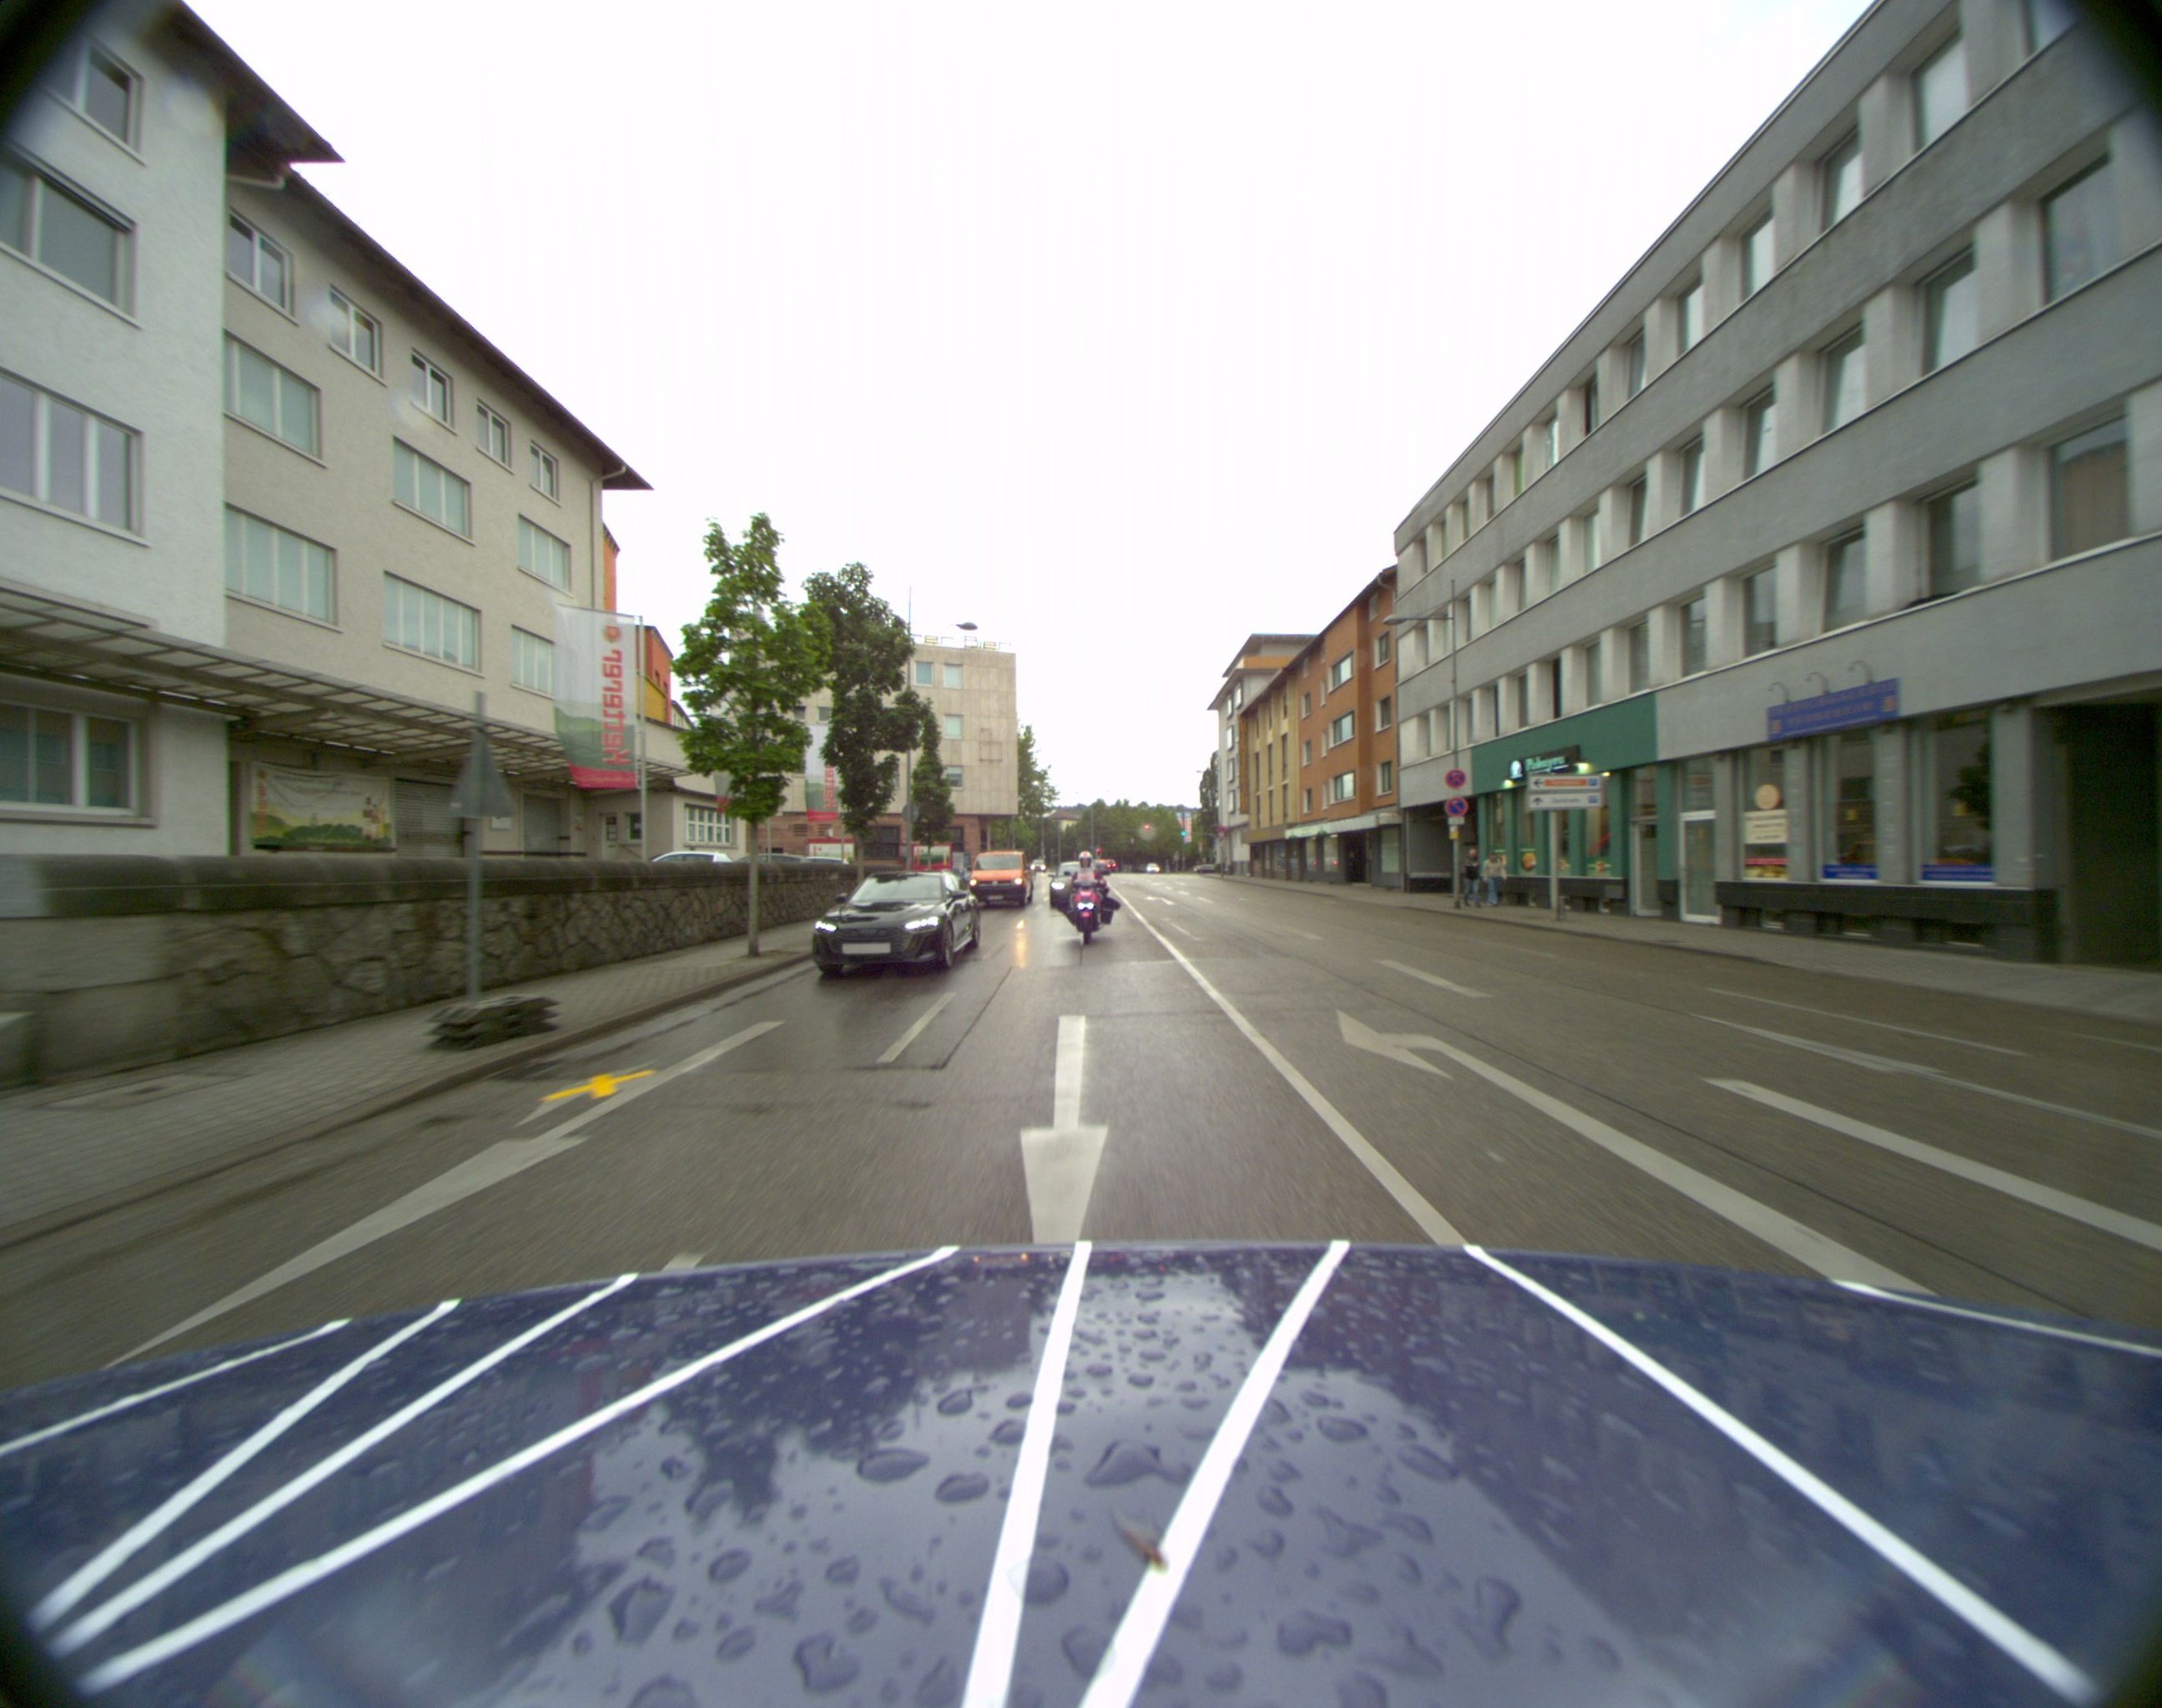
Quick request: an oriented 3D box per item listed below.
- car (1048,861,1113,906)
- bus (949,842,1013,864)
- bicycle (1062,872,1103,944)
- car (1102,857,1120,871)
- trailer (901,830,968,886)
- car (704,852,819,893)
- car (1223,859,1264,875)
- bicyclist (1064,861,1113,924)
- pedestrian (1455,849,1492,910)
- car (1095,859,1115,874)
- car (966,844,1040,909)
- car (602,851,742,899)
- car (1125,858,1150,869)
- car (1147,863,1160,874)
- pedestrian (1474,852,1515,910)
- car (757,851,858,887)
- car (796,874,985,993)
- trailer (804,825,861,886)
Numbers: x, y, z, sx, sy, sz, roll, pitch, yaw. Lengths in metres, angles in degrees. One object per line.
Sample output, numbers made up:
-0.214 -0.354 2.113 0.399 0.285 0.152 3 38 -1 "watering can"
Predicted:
0.075 1.002 27.284 1.896 1.396 4.363 -3 -1 5 "car"
-15.407 -0.126 116.865 9.633 3.197 2.711 1 -1 26 "bus"
0.062 1.043 15.528 0.717 1.298 2.428 -1 0 2 "bicycle"
3.695 1.235 92.539 1.758 1.604 4.215 1 -1 9 "car"
-9.012 0.231 46.212 2.640 3.158 5.704 0 0 -26 "trailer"
-13.020 0.748 31.030 4.008 1.573 1.767 1 -2 -35 "car"
16.762 1.324 78.447 3.822 1.413 1.797 2 1 1 "car"
0.166 0.771 15.427 0.963 1.219 0.715 -1 0 2 "bicyclist"
11.902 0.765 23.050 0.576 1.778 0.827 -5 0 1 "pedestrian"
2.297 1.168 73.682 1.737 1.431 4.413 0 0 -1 "car"
-2.694 0.743 27.569 2.107 2.077 5.541 -1 0 0 "car"
-14.278 0.727 26.605 3.989 1.558 1.922 1 -3 -40 "car"
12.100 2.080 162.074 4.839 1.930 1.954 -4 -2 31 "car"
10.949 2.177 115.111 1.895 1.566 4.363 1 0 5 "car"
12.518 0.803 23.015 0.631 1.665 0.908 -5 0 0 "pedestrian"
-13.435 0.761 37.391 4.285 1.639 1.863 2 -2 -37 "car"
-2.777 1.102 12.241 1.794 1.394 4.633 -2 0 0 "car"
-14.593 0.102 44.339 2.753 3.288 6.061 -1 0 -21 "trailer"
